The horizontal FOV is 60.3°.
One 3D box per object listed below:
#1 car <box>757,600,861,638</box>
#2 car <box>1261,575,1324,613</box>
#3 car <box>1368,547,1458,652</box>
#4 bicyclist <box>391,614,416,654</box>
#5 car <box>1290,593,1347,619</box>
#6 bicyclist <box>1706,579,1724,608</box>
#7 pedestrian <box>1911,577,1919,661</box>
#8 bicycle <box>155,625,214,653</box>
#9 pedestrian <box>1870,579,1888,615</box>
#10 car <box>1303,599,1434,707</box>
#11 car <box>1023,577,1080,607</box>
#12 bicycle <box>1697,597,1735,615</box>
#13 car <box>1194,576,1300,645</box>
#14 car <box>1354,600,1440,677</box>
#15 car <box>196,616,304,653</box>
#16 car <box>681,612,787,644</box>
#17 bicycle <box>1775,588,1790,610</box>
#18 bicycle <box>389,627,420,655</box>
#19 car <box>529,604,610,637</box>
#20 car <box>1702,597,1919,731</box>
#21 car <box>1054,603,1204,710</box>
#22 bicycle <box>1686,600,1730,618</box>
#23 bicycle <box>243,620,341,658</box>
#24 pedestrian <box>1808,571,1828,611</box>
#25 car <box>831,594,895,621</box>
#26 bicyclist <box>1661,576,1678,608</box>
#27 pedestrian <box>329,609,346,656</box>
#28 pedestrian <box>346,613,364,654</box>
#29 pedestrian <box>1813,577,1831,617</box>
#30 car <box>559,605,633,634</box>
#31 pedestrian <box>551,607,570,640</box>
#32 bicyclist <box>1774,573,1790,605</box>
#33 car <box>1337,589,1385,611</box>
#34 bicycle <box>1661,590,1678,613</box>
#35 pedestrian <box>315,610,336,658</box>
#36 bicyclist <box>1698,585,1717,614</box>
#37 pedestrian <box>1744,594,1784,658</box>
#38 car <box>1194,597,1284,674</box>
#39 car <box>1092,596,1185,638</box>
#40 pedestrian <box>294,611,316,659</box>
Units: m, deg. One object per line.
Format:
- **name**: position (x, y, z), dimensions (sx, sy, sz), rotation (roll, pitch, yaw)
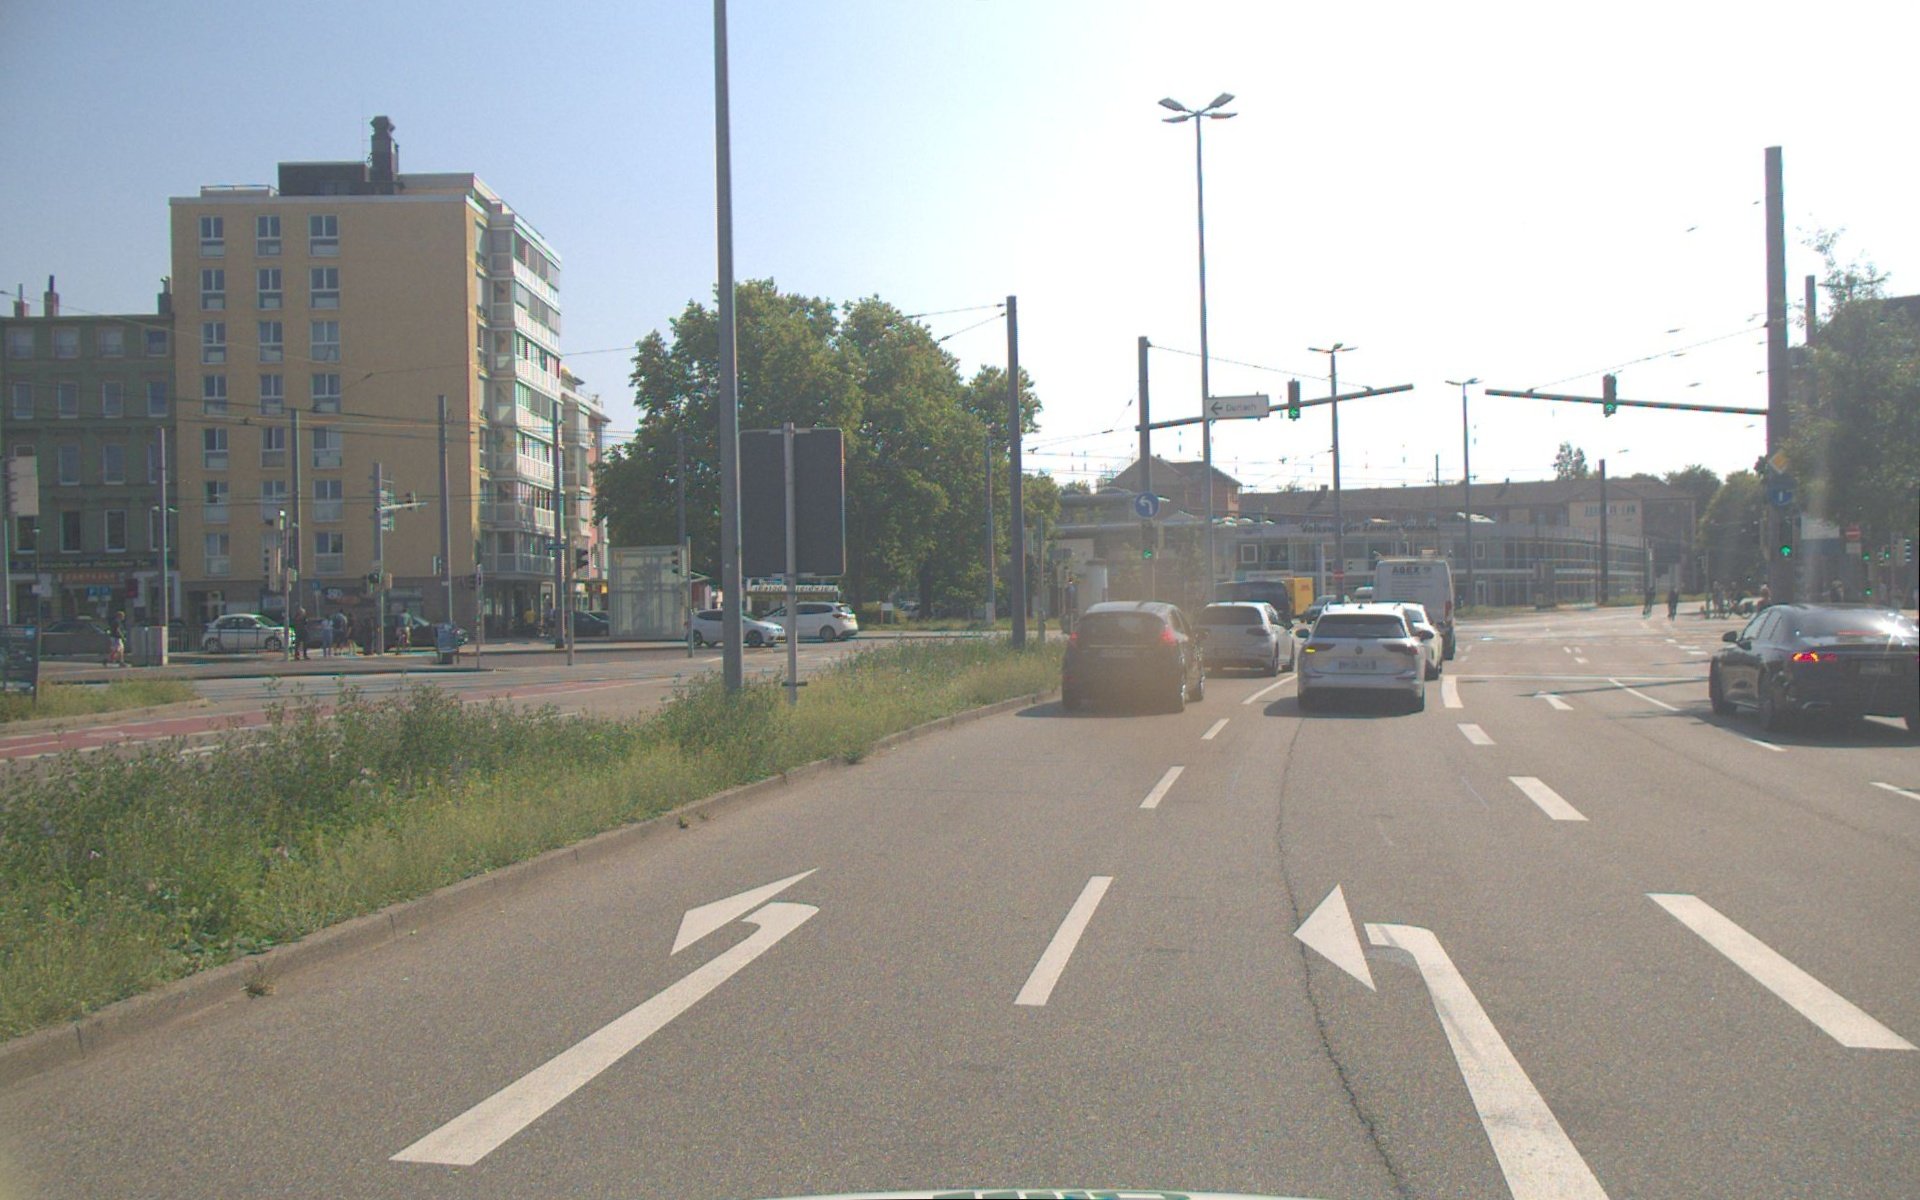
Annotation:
- **car**: position (-6.298, 0.800, 69.047), dimensions (3.990, 1.528, 1.628), rotation (-1, -1, 19)
- **car**: position (18.969, -0.341, 94.313), dimensions (1.958, 2.049, 4.651), rotation (-1, 0, 33)
- **car**: position (11.911, 0.007, 43.628), dimensions (2.142, 2.594, 4.687), rotation (-1, -1, 15)
- **bicyclist**: position (-20.749, 1.252, 61.681), dimensions (0.711, 1.459, 0.689), rotation (-1, 0, -5)
- **car**: position (19.673, 0.326, 90.630), dimensions (1.860, 1.348, 4.124), rotation (-1, 0, 30)
- **bicyclist**: position (39.561, -0.345, 86.650), dimensions (0.789, 1.524, 0.747), rotation (-1, 0, 29)
- **pedestrian**: position (19.184, 0.366, 32.693), dimensions (0.603, 1.667, 0.532), rotation (-2, 0, 33)
- **bicycle**: position (-35.811, 1.794, 76.379), dimensions (2.420, 1.135, 0.732), rotation (-2, 3, -30)
- **pedestrian**: position (36.804, -0.119, 66.248), dimensions (0.645, 1.384, 0.658), rotation (0, 2, 30)
- **car**: position (5.760, 0.717, 23.540), dimensions (1.649, 1.412, 3.637), rotation (-1, -1, 13)
- **car**: position (6.695, -0.591, 120.595), dimensions (3.901, 2.048, 2.002), rotation (-1, 2, 10)
- **bicycle**: position (39.599, 0.290, 86.635), dimensions (1.764, 0.900, 0.760), rotation (-1, 0, 29)
- **car**: position (8.877, 0.328, 51.588), dimensions (1.985, 2.043, 4.676), rotation (-1, 0, -7)
- **car**: position (8.548, 0.732, 32.550), dimensions (1.457, 1.427, 3.945), rotation (-1, -1, 13)
- **car**: position (-28.966, 1.407, 67.529), dimensions (3.661, 1.417, 1.587), rotation (-1, 0, -1)
- **car**: position (-8.736, 1.075, 64.117), dimensions (3.747, 1.200, 1.577), rotation (0, -1, 12)
- **bicycle**: position (47.820, -0.061, 96.192), dimensions (0.725, 1.239, 2.244), rotation (-1, 0, 26)
- **bicycle**: position (-20.753, 1.511, 61.813), dimensions (0.713, 1.001, 1.730), rotation (-1, 0, -5)
- **car**: position (-21.182, 1.091, 89.725), dimensions (3.905, 1.584, 1.869), rotation (-1, 2, 0)
- **car**: position (10.625, 0.703, 20.483), dimensions (1.781, 1.465, 4.877), rotation (0, 0, 14)
- **car**: position (2.485, 0.757, 23.529), dimensions (1.665, 1.392, 3.967), rotation (-1, -1, 12)
- **bicycle**: position (38.748, 0.475, 85.714), dimensions (2.013, 0.910, 0.745), rotation (-1, 0, 29)
- **bicycle**: position (-30.567, 1.788, 75.729), dimensions (3.907, 1.578, 1.195), rotation (-1, 2, -3)
- **pedestrian**: position (42.285, -0.438, 81.543), dimensions (0.788, 1.922, 0.748), rotation (-1, 0, 26)
- **car**: position (-6.006, 0.468, 102.838), dimensions (3.906, 1.585, 1.727), rotation (-1, 0, -2)
- **bicyclist**: position (35.032, -0.408, 81.657), dimensions (0.698, 1.556, 0.806), rotation (-1, 0, 26)
- **pedestrian**: position (-23.283, 1.217, 61.893), dimensions (0.451, 1.714, 0.434), rotation (-3, 3, -39)
- **pedestrian**: position (-22.822, 1.256, 62.379), dimensions (0.494, 1.513, 0.434), rotation (-3, 3, -39)
- **pedestrian**: position (44.300, -0.155, 85.022), dimensions (0.731, 2.049, 0.806), rotation (-1, 0, 26)
- **car**: position (-21.238, 1.111, 96.530), dimensions (3.906, 1.585, 1.868), rotation (-1, 0, -2)
- **pedestrian**: position (-20.295, 1.171, 84.039), dimensions (0.833, 1.649, 0.541), rotation (-1, 0, -5)
- **bicyclist**: position (47.796, -0.654, 96.171), dimensions (0.731, 1.861, 0.806), rotation (-1, 0, 26)
- **car**: position (25.778, -0.017, 106.233), dimensions (1.860, 1.302, 4.122), rotation (-1, 0, 32)
- **bicycle**: position (35.024, 0.060, 81.610), dimensions (0.692, 1.080, 1.981), rotation (-1, 0, 25)
- **pedestrian**: position (-23.366, 1.246, 60.925), dimensions (0.445, 1.714, 0.548), rotation (-1, 2, 11)
- **bicyclist**: position (38.748, -0.007, 85.719), dimensions (0.789, 1.486, 0.747), rotation (-1, 0, 29)
- **pedestrian**: position (17.737, 0.560, 36.493), dimensions (0.622, 1.386, 0.634), rotation (-1, 0, 9)
- **car**: position (5.703, 0.685, 33.573), dimensions (1.457, 1.440, 3.651), rotation (-1, 0, 15)
- **car**: position (6.800, 0.620, 63.474), dimensions (1.548, 1.397, 3.958), rotation (-2, 3, -29)
- **pedestrian**: position (-23.927, 1.262, 60.429), dimensions (0.445, 1.714, 0.547), rotation (0, 2, 24)
